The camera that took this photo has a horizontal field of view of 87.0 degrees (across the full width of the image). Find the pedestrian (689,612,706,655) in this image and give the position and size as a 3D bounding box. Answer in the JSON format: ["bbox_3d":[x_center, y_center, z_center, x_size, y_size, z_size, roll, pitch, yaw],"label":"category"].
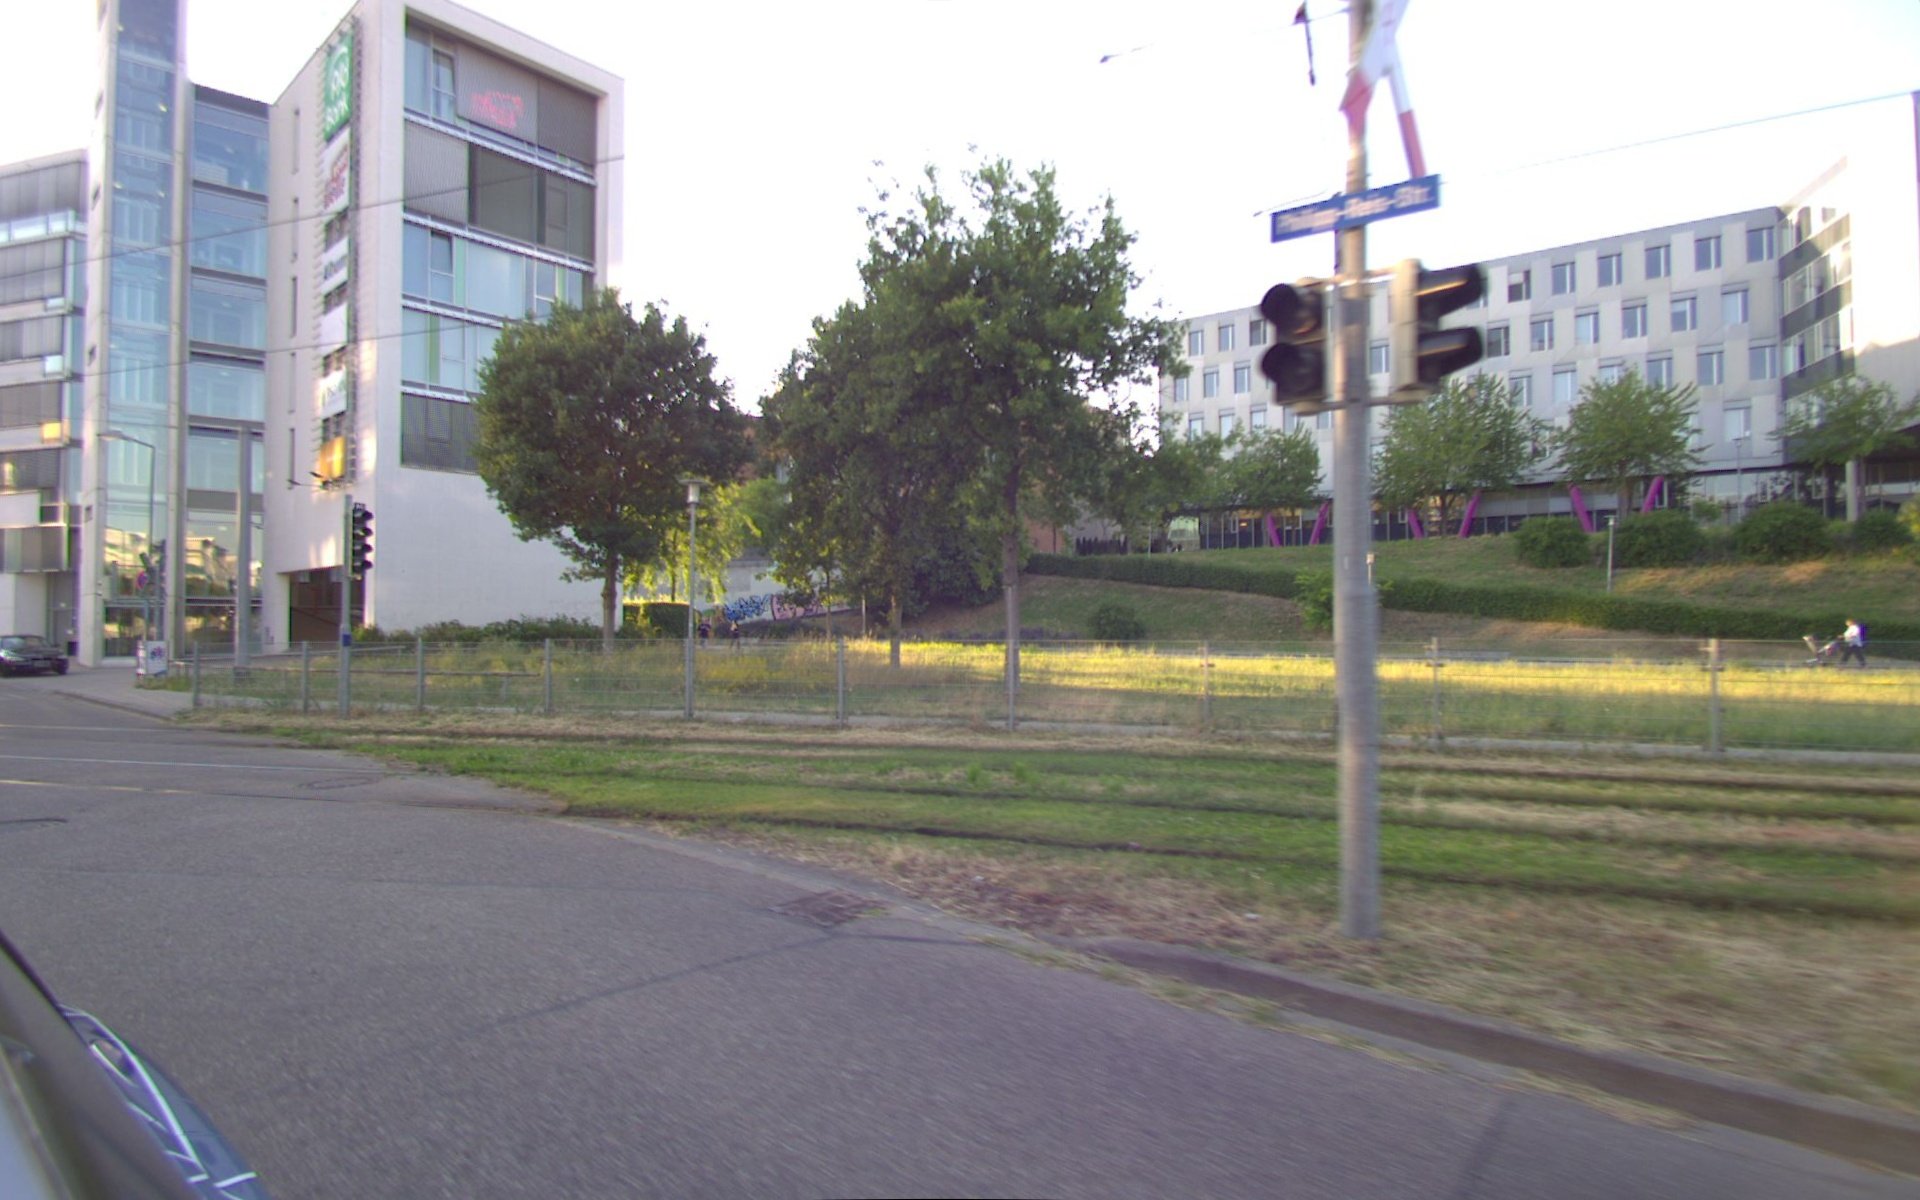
[{"bbox_3d":[-11.389,1.463,43.912,0.480,1.850,0.446,-1,0,21],"label":"pedestrian"}]

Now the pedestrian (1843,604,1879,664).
[{"bbox_3d":[28.550,1.072,32.090,0.790,1.850,0.610,-2,0,41],"label":"pedestrian"}]

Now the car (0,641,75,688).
[{"bbox_3d":[-32.652,2.192,35.098,4.215,1.453,1.838,-2,0,33],"label":"car"}]

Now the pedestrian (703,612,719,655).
[{"bbox_3d":[-10.825,1.447,44.016,0.480,1.850,0.434,-1,0,21],"label":"pedestrian"}]

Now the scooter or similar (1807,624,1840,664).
[{"bbox_3d":[27.891,1.410,32.697,0.790,1.253,0.610,-2,0,41],"label":"scooter or similar"}]
